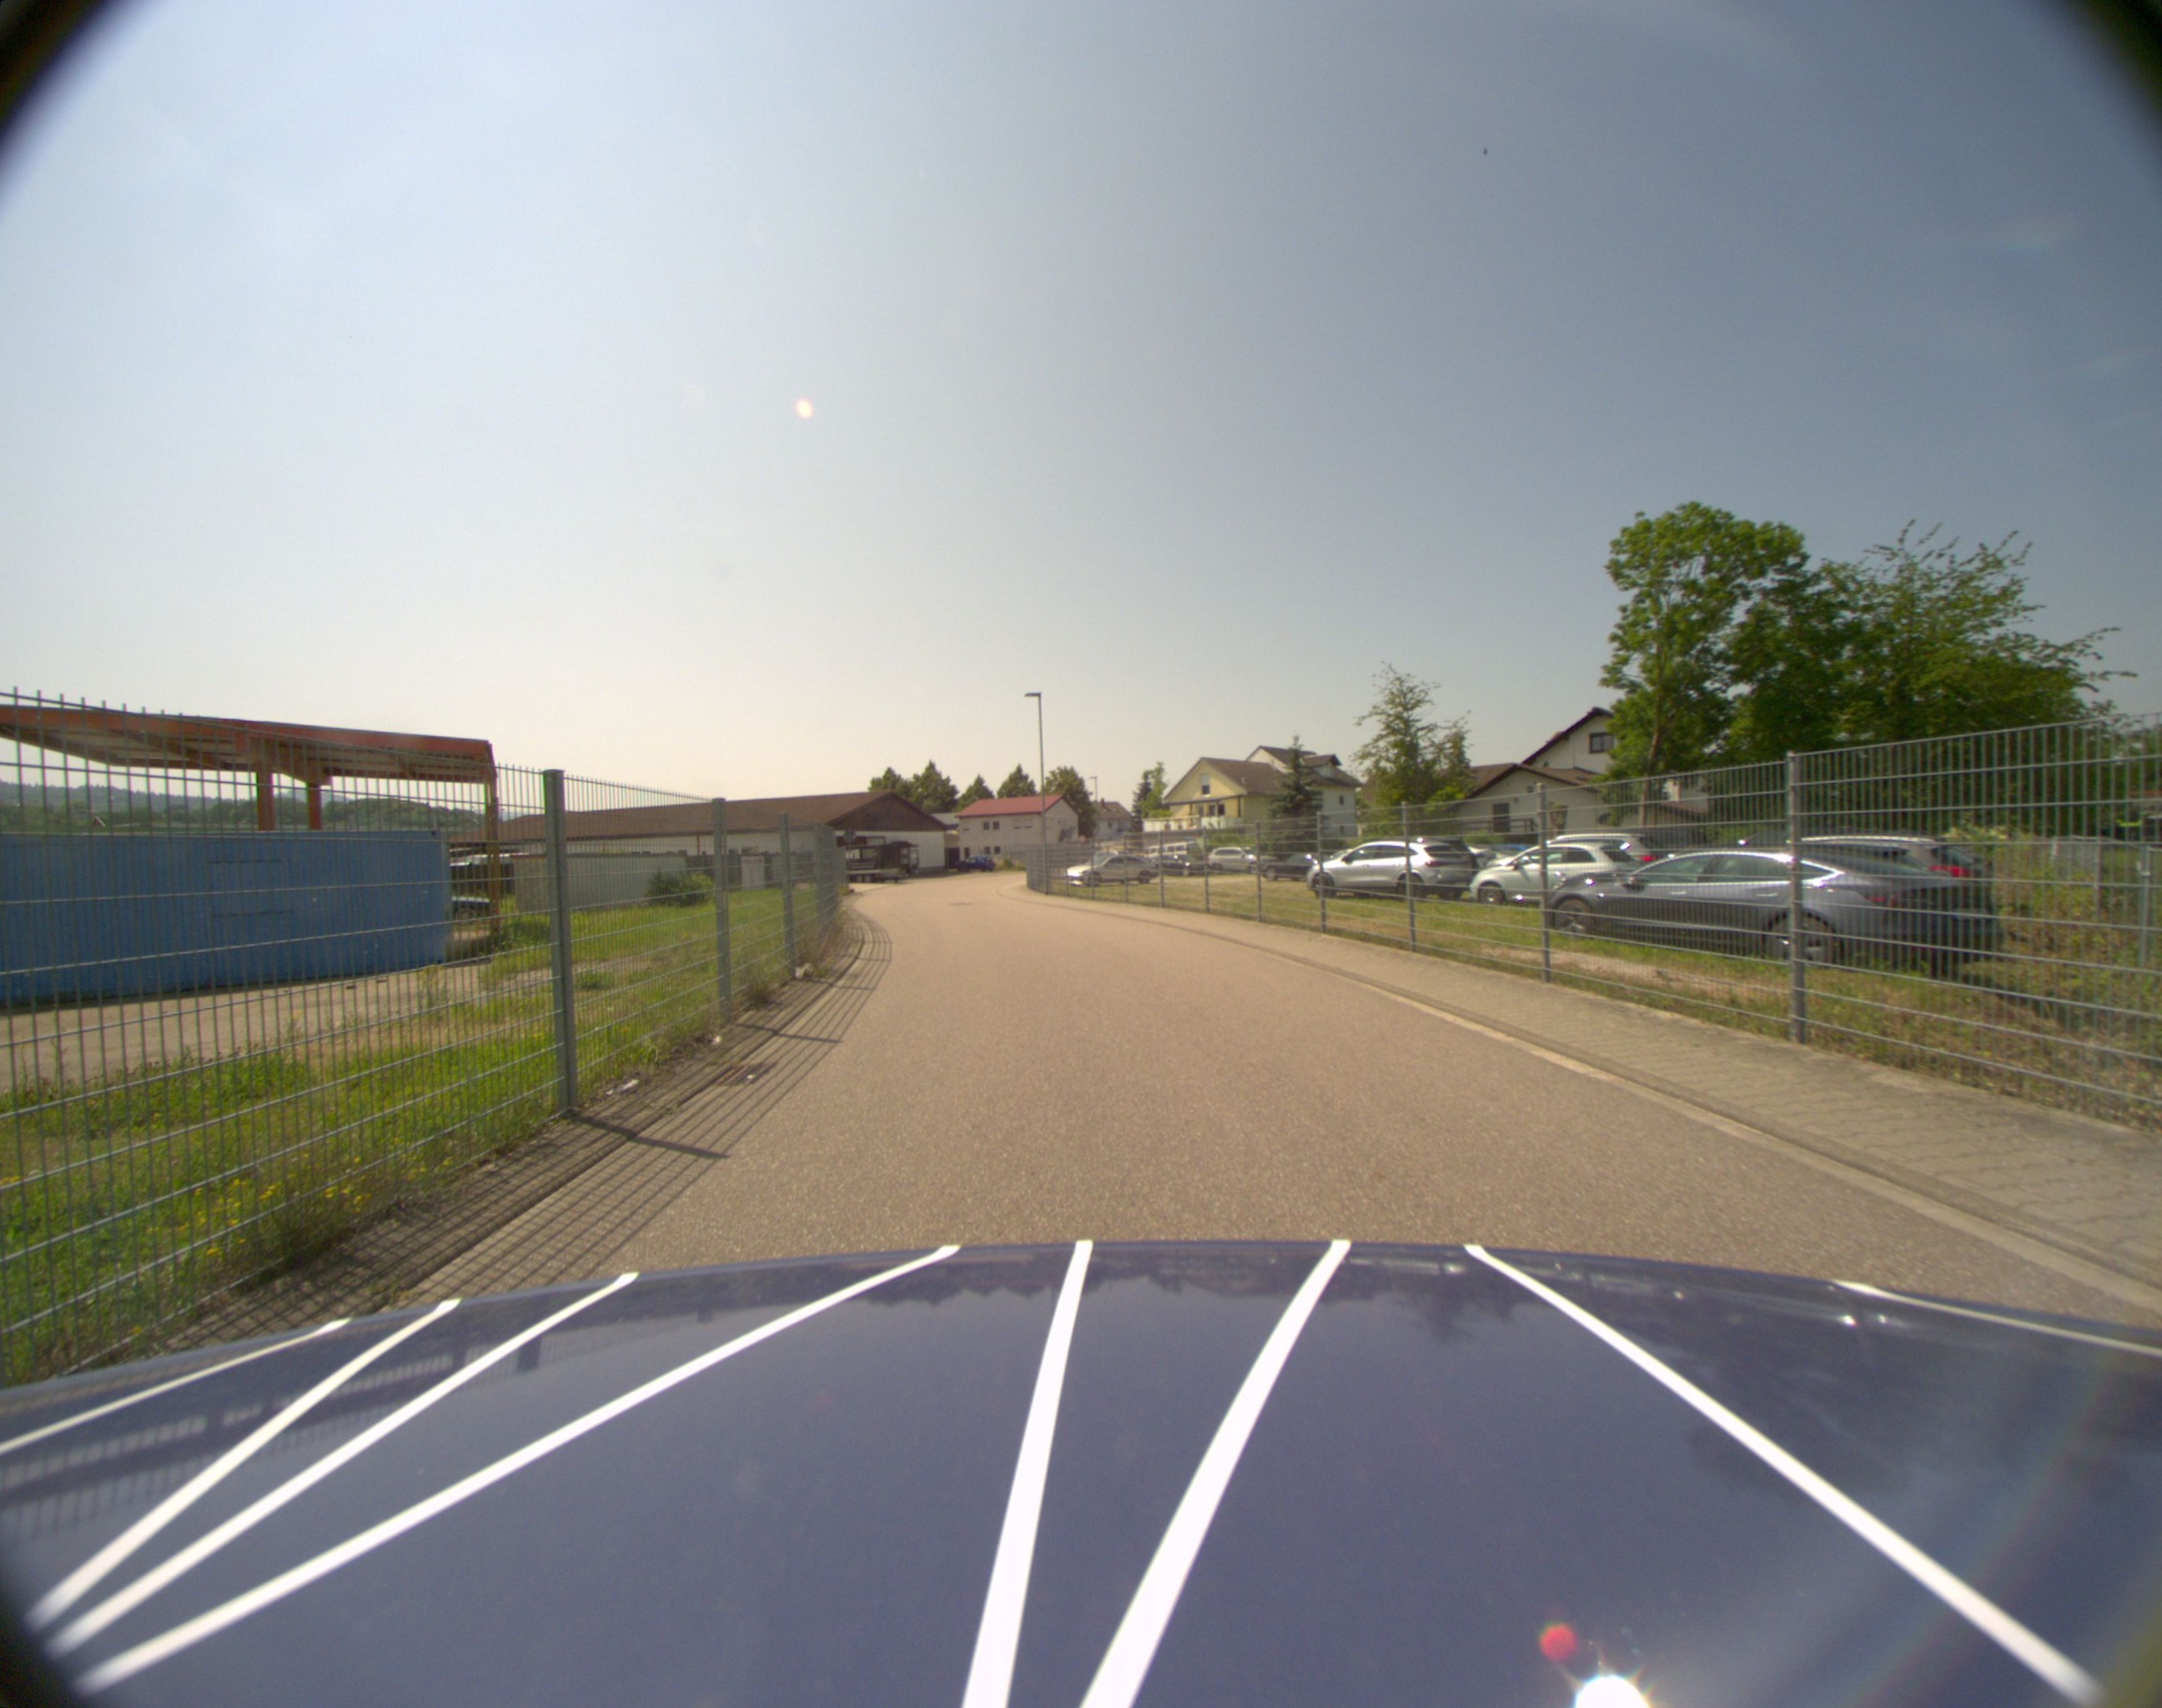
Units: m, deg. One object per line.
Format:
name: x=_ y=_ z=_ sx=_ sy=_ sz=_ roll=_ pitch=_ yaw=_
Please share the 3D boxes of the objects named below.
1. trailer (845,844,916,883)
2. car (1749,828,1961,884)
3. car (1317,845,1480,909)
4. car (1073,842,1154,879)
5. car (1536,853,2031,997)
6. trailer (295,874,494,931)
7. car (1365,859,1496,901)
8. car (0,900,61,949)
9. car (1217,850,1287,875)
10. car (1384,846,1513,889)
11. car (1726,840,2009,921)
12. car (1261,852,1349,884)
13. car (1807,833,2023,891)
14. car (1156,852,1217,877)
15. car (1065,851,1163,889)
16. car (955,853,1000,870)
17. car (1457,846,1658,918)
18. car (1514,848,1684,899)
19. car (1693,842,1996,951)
trailer: x=-13.649 y=0.575 z=51.783 sx=4.353 sy=2.527 sz=2.003 roll=1 pitch=2 yaw=23
car: x=20.571 y=0.054 z=20.329 sx=1.823 sy=1.309 sz=3.736 roll=-3 pitch=1 yaw=-36
car: x=8.272 y=0.566 z=20.026 sx=1.585 sy=1.481 sz=3.637 roll=-2 pitch=1 yaw=-36
car: x=2.037 y=0.369 z=46.542 sx=4.713 sy=2.021 sz=2.001 roll=-2 pitch=1 yaw=8
car: x=8.245 y=0.685 z=9.584 sx=1.583 sy=1.326 sz=4.398 roll=-2 pitch=0 yaw=-16
trailer: x=-22.037 y=1.517 z=24.673 sx=4.627 sy=1.556 sz=1.765 roll=-1 pitch=-2 yaw=-39
car: x=11.566 y=0.832 z=25.351 sx=1.585 sy=1.239 sz=3.637 roll=-2 pitch=1 yaw=-36
car: x=-33.562 y=2.214 z=22.387 sx=1.670 sy=1.379 sz=4.007 roll=-2 pitch=1 yaw=32
car: x=10.746 y=0.517 z=47.997 sx=1.865 sy=1.490 sz=3.989 roll=-2 pitch=0 yaw=-39
car: x=14.069 y=0.490 z=29.275 sx=2.004 sy=1.490 sz=3.989 roll=-2 pitch=0 yaw=-36
car: x=16.666 y=0.498 z=16.284 sx=2.004 sy=1.490 sz=3.989 roll=-2 pitch=0 yaw=-36
car: x=10.182 y=0.621 z=34.657 sx=1.823 sy=1.309 sz=3.400 roll=-3 pitch=1 yaw=-36
car: x=23.863 y=0.204 z=21.870 sx=2.004 sy=1.490 sz=3.989 roll=-2 pitch=0 yaw=-36
car: x=6.701 y=0.686 z=48.497 sx=1.823 sy=1.455 sz=3.674 roll=-3 pitch=1 yaw=-36
car: x=1.499 y=0.739 z=35.917 sx=4.392 sy=1.561 sz=1.824 roll=-2 pitch=1 yaw=-5
car: x=-9.352 y=0.666 z=68.657 sx=3.638 sy=1.387 sz=1.584 roll=1 pitch=1 yaw=19
car: x=10.586 y=0.582 z=17.072 sx=1.585 sy=1.411 sz=3.453 roll=-2 pitch=1 yaw=-36
car: x=14.042 y=0.508 z=20.724 sx=1.823 sy=1.192 sz=3.400 roll=-3 pitch=1 yaw=-36
car: x=12.918 y=0.640 z=13.036 sx=1.585 sy=1.575 sz=3.453 roll=-2 pitch=1 yaw=-36
